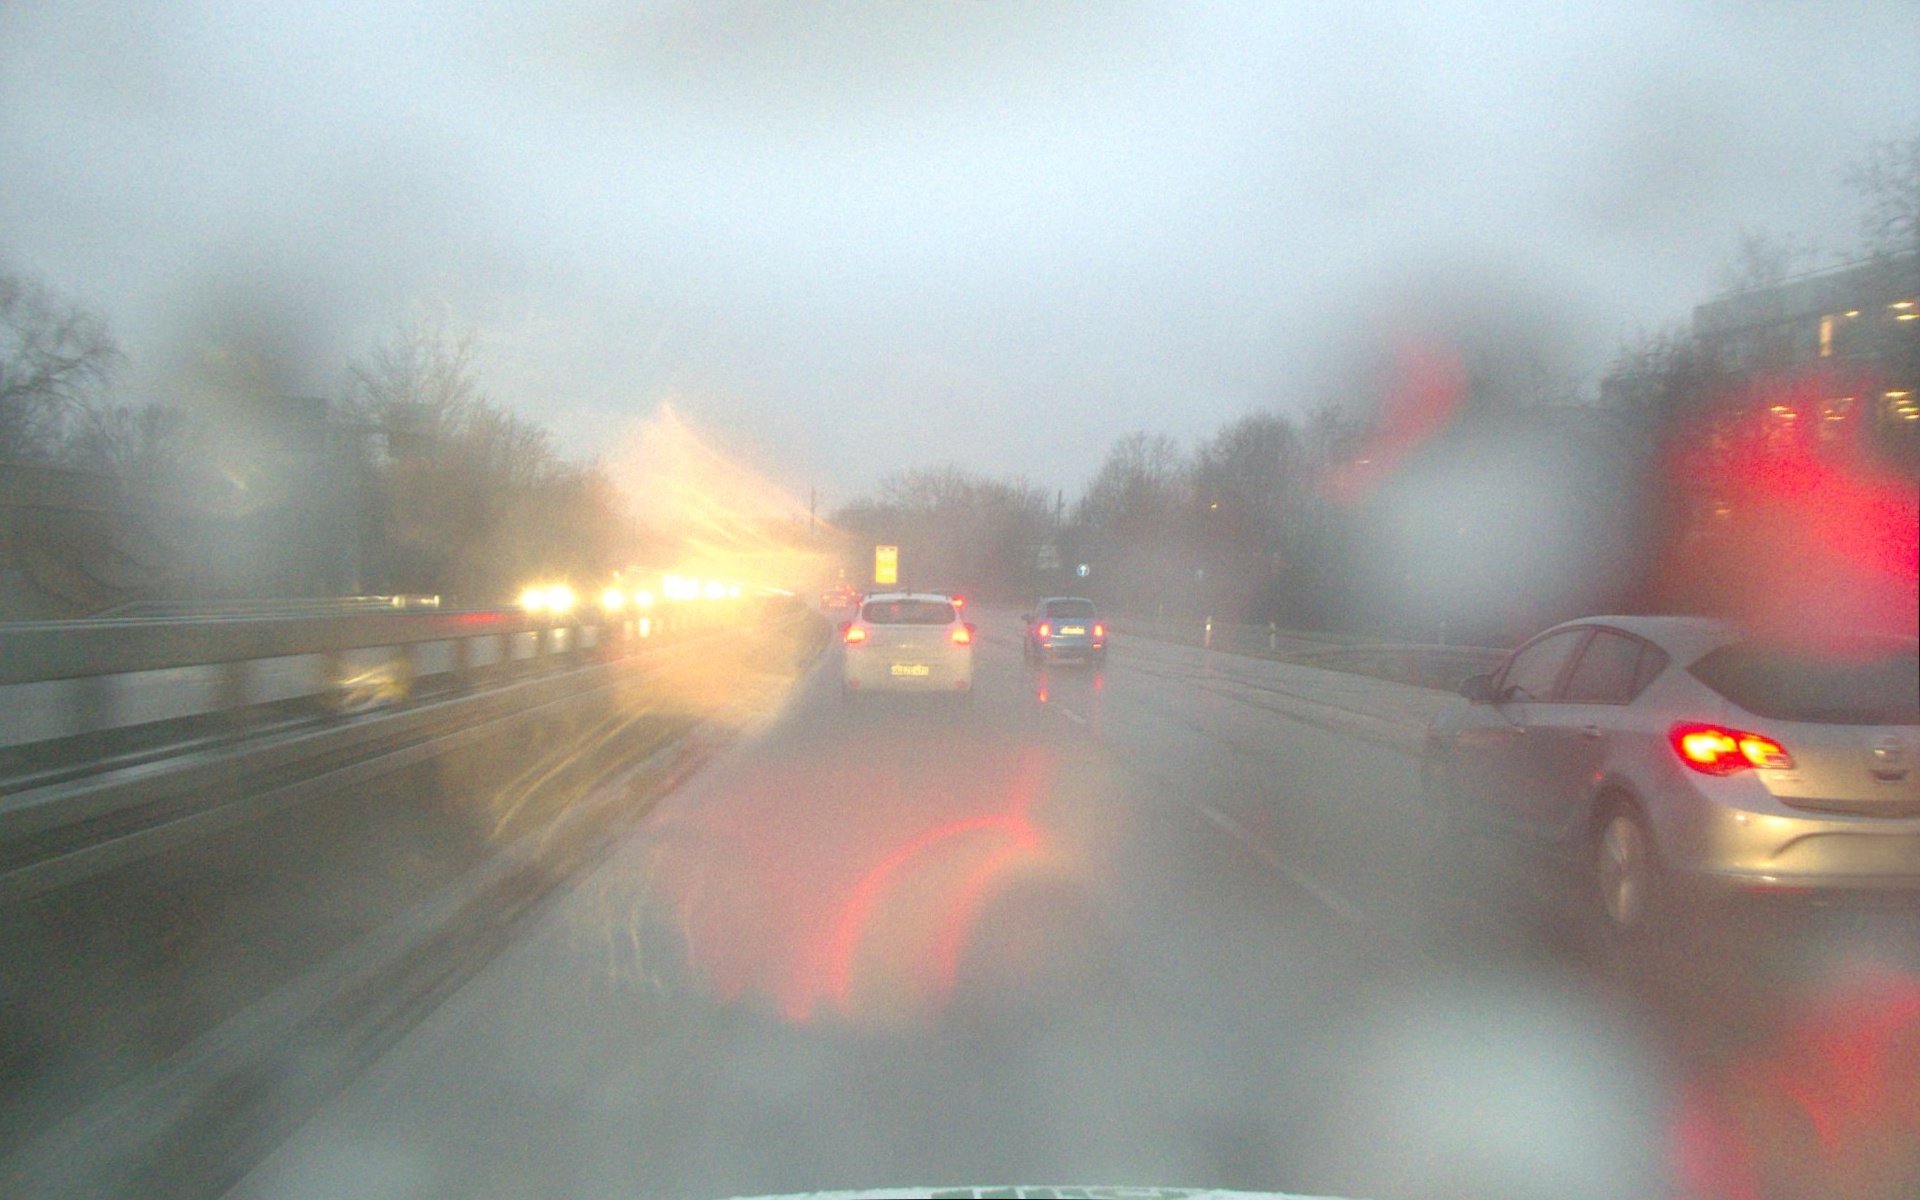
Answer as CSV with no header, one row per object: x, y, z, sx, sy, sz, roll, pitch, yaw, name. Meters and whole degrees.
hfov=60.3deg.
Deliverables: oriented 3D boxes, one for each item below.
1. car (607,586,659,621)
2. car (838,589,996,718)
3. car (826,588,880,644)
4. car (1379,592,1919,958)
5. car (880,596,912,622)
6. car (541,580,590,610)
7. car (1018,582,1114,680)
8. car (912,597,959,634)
-15.493,0.148,78.569,1.801,1.583,4.352,1,0,-4,car
-0.626,0.676,23.017,1.984,1.602,3.998,1,0,-2,car
-4.139,0.603,63.526,1.955,2.049,3.996,1,0,-5,car
3.845,0.745,9.121,1.812,1.528,4.260,1,0,-2,car
-4.004,0.545,103.060,1.894,1.573,3.771,1,0,-3,car
-21.780,-0.277,91.466,1.800,1.583,4.352,1,0,-3,car
2.333,0.664,37.395,1.893,2.055,3.773,1,0,0,car
-1.212,0.751,80.436,1.895,1.573,3.769,-5,0,-5,car
